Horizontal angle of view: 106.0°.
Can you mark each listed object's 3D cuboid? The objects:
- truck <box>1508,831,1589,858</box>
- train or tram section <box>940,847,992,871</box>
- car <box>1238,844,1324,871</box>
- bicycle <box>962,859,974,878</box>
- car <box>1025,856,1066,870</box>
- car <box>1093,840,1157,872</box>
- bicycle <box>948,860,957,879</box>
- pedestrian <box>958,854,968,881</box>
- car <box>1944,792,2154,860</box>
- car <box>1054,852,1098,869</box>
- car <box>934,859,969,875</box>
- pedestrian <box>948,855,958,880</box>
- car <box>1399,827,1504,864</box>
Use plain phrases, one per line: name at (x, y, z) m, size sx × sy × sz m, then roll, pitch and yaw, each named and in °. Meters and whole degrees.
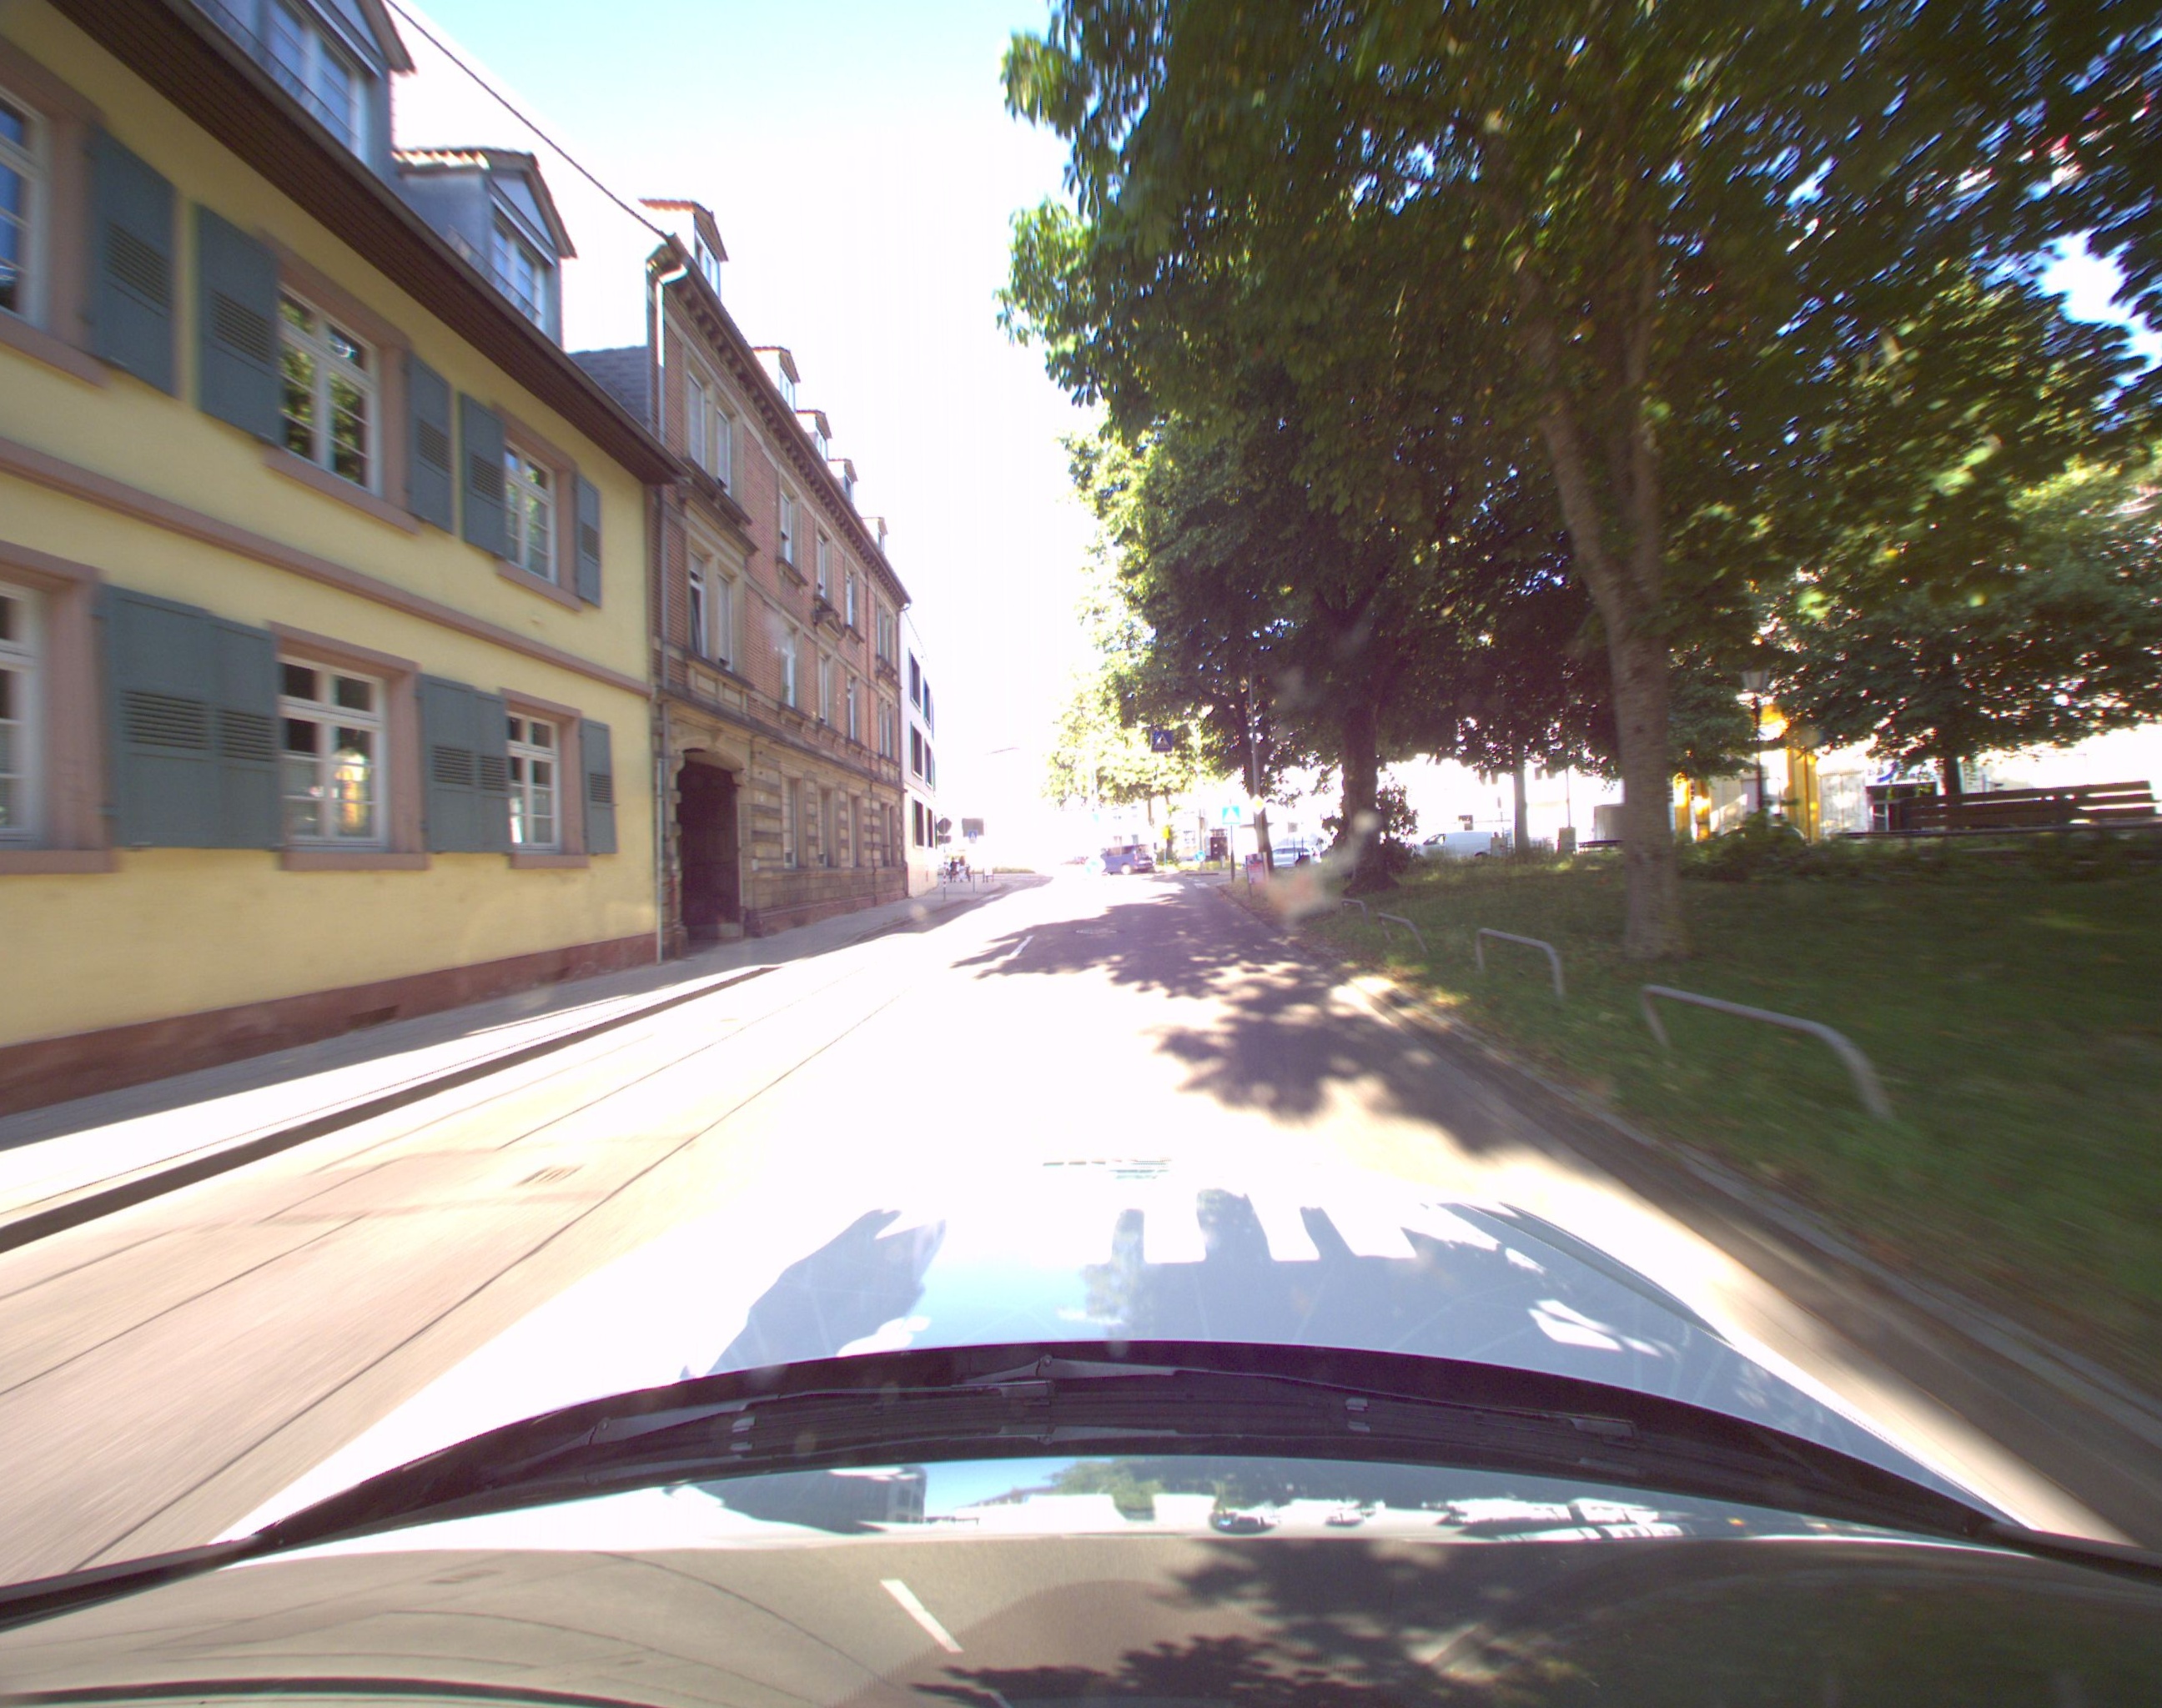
truck at (29.812, -0.569, 52.036) m, size 2.011 × 1.585 × 4.048 m, roll -2°, pitch 1°, yaw -42°
train or tram section at (-17.934, 0.668, 127.737) m, size 2.749 × 3.555 × 9.980 m, roll -2°, pitch 0°, yaw 28°
car at (12.088, 0.186, 49.206) m, size 4.715 × 1.463 × 1.865 m, roll -2°, pitch 0°, yaw 23°
bicycle at (-7.114, 0.886, 51.190) m, size 0.441 × 1.178 × 1.956 m, roll -1°, pitch 0°, yaw -16°
car at (-3.961, 1.034, 90.126) m, size 4.391 × 1.386 × 2.012 m, roll -2°, pitch 1°, yaw 45°
car at (2.892, 0.160, 54.505) m, size 2.011 × 2.014 × 3.951 m, roll -1°, pitch -1°, yaw -44°
bicycle at (-8.071, 0.978, 51.136) m, size 0.376 × 1.167 × 1.828 m, roll -3°, pitch 0°, yaw -14°
pedestrian at (-7.453, 0.856, 51.247) m, size 0.475 × 1.647 × 0.599 m, roll -3°, pitch -1°, yaw -17°
car at (29.279, -0.778, 24.832) m, size 2.011 × 1.794 × 3.952 m, roll 0°, pitch -2°, yaw -41°
car at (-0.547, 0.697, 86.215) m, size 2.011 × 1.572 × 4.585 m, roll -2°, pitch -1°, yaw -42°
car at (-12.921, 1.283, 81.218) m, size 1.973 × 1.505 × 3.645 m, roll -3°, pitch 0°, yaw -35°
pedestrian at (-8.049, 0.861, 51.260) m, size 0.475 × 1.565 × 0.599 m, roll -1°, pitch 0°, yaw -17°
car at (20.037, -0.435, 44.128) m, size 4.838 × 1.854 × 2.013 m, roll -2°, pitch 0°, yaw 37°
